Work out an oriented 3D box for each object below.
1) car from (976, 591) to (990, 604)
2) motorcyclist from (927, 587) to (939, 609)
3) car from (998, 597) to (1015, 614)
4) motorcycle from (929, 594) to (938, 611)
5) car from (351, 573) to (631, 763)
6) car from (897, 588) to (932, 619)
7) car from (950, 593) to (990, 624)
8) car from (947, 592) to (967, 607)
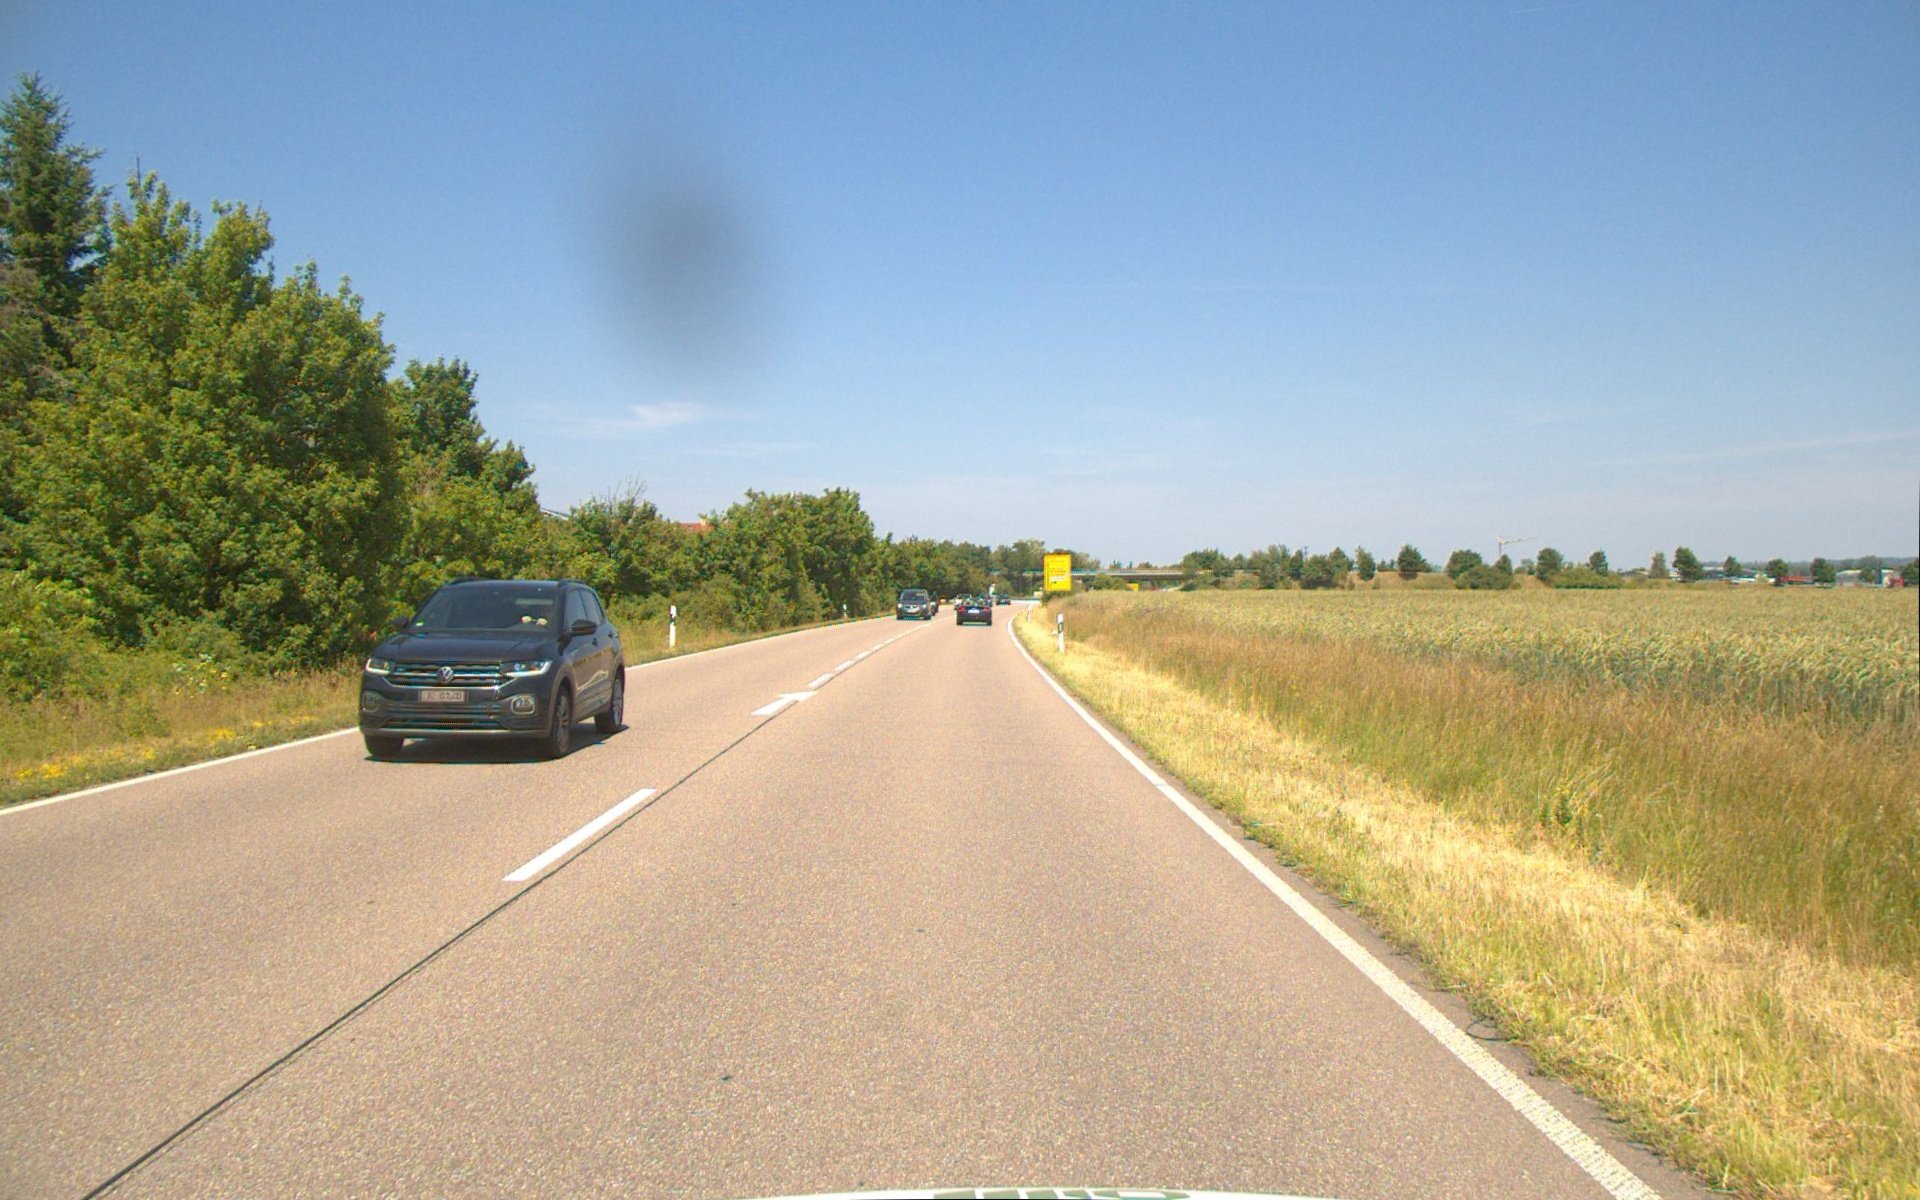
[{"bbox_3d":[2.682,-0.276,190.795,1.564,1.467,4.001,0,0,2],"label":"car"},{"bbox_3d":[-1.855,-0.148,113.888,0.818,1.500,1.817,0,0,-1],"label":"motorcyclist"},{"bbox_3d":[6.042,0.717,214.242,1.952,2.049,4.002,1,0,3],"label":"car"},{"bbox_3d":[-1.858,0.148,113.994,0.604,1.128,2.022,0,0,-1],"label":"motorcycle"},{"bbox_3d":[-4.323,0.564,15.795,1.664,1.594,3.670,1,0,-1],"label":"car"},{"bbox_3d":[-2.618,0.207,95.341,1.781,1.731,5.002,0,0,1],"label":"car"},{"bbox_3d":[0.520,0.392,82.108,1.776,1.466,4.001,1,0,3],"label":"car"},{"bbox_3d":[-0.255,-0.065,152.782,1.672,1.405,3.820,1,0,1],"label":"car"}]
